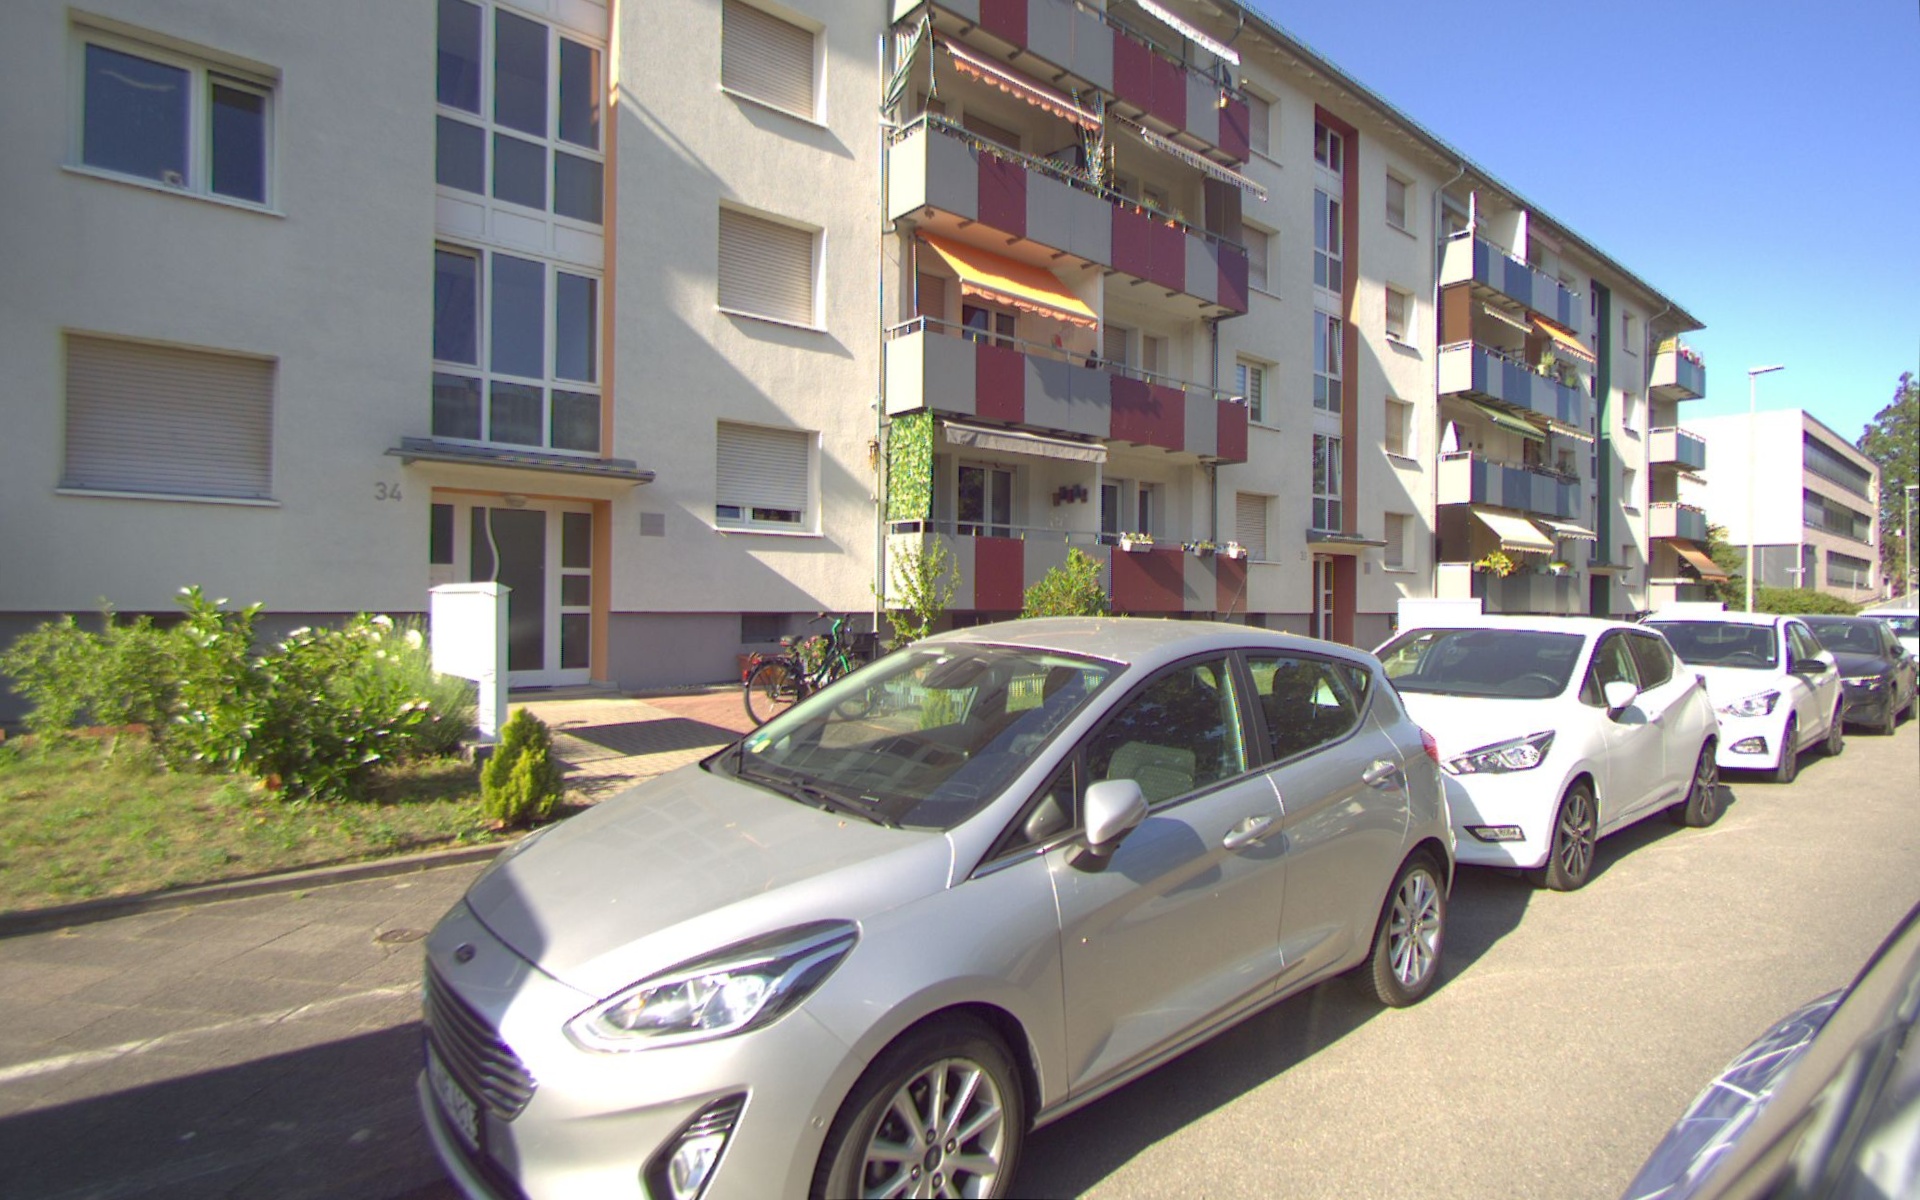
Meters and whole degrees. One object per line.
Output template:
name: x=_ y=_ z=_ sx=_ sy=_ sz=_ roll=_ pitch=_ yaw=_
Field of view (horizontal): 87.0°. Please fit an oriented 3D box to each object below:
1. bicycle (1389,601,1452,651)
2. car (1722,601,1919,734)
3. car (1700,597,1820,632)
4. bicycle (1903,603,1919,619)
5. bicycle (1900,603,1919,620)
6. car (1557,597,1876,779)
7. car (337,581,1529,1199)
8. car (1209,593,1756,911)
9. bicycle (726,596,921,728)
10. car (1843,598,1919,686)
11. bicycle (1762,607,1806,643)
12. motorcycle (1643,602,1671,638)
bicycle: x=10.560 y=0.583 z=23.184 sx=1.975 sy=1.084 sz=0.524 roll=0 pitch=2 yaw=-42
car: x=11.837 y=0.768 z=13.616 sx=4.395 sy=1.453 sz=1.702 roll=0 pitch=2 yaw=-42
car: x=39.341 y=0.683 z=49.848 sx=1.881 sy=1.644 sz=4.413 roll=0 pitch=0 yaw=-42
bicycle: x=67.669 y=0.834 z=71.021 sx=0.844 sy=1.077 sz=2.084 roll=0 pitch=3 yaw=-39
bicycle: x=66.622 y=0.821 z=70.174 sx=0.867 sy=1.076 sz=2.029 roll=0 pitch=3 yaw=-41
car: x=7.734 y=0.716 z=10.208 sx=4.079 sy=1.453 sz=1.724 roll=0 pitch=0 yaw=-40
car: x=0.305 y=0.737 z=3.682 sx=4.129 sy=1.484 sz=1.851 roll=1 pitch=-1 yaw=-42
car: x=3.681 y=0.716 z=6.822 sx=4.067 sy=1.494 sz=1.881 roll=0 pitch=0 yaw=-40
bicycle: x=-1.366 y=0.582 z=10.415 sx=1.979 sy=1.191 sz=0.596 roll=-2 pitch=1 yaw=-42
car: x=18.147 y=0.745 z=19.213 sx=3.797 sy=1.518 sz=1.749 roll=0 pitch=1 yaw=-44
bicycle: x=26.026 y=0.781 z=31.950 sx=1.862 sy=1.091 sz=0.721 roll=0 pitch=0 yaw=-39
motorcycle: x=23.761 y=0.674 z=34.482 sx=0.582 sy=1.166 sz=2.008 roll=0 pitch=0 yaw=40
